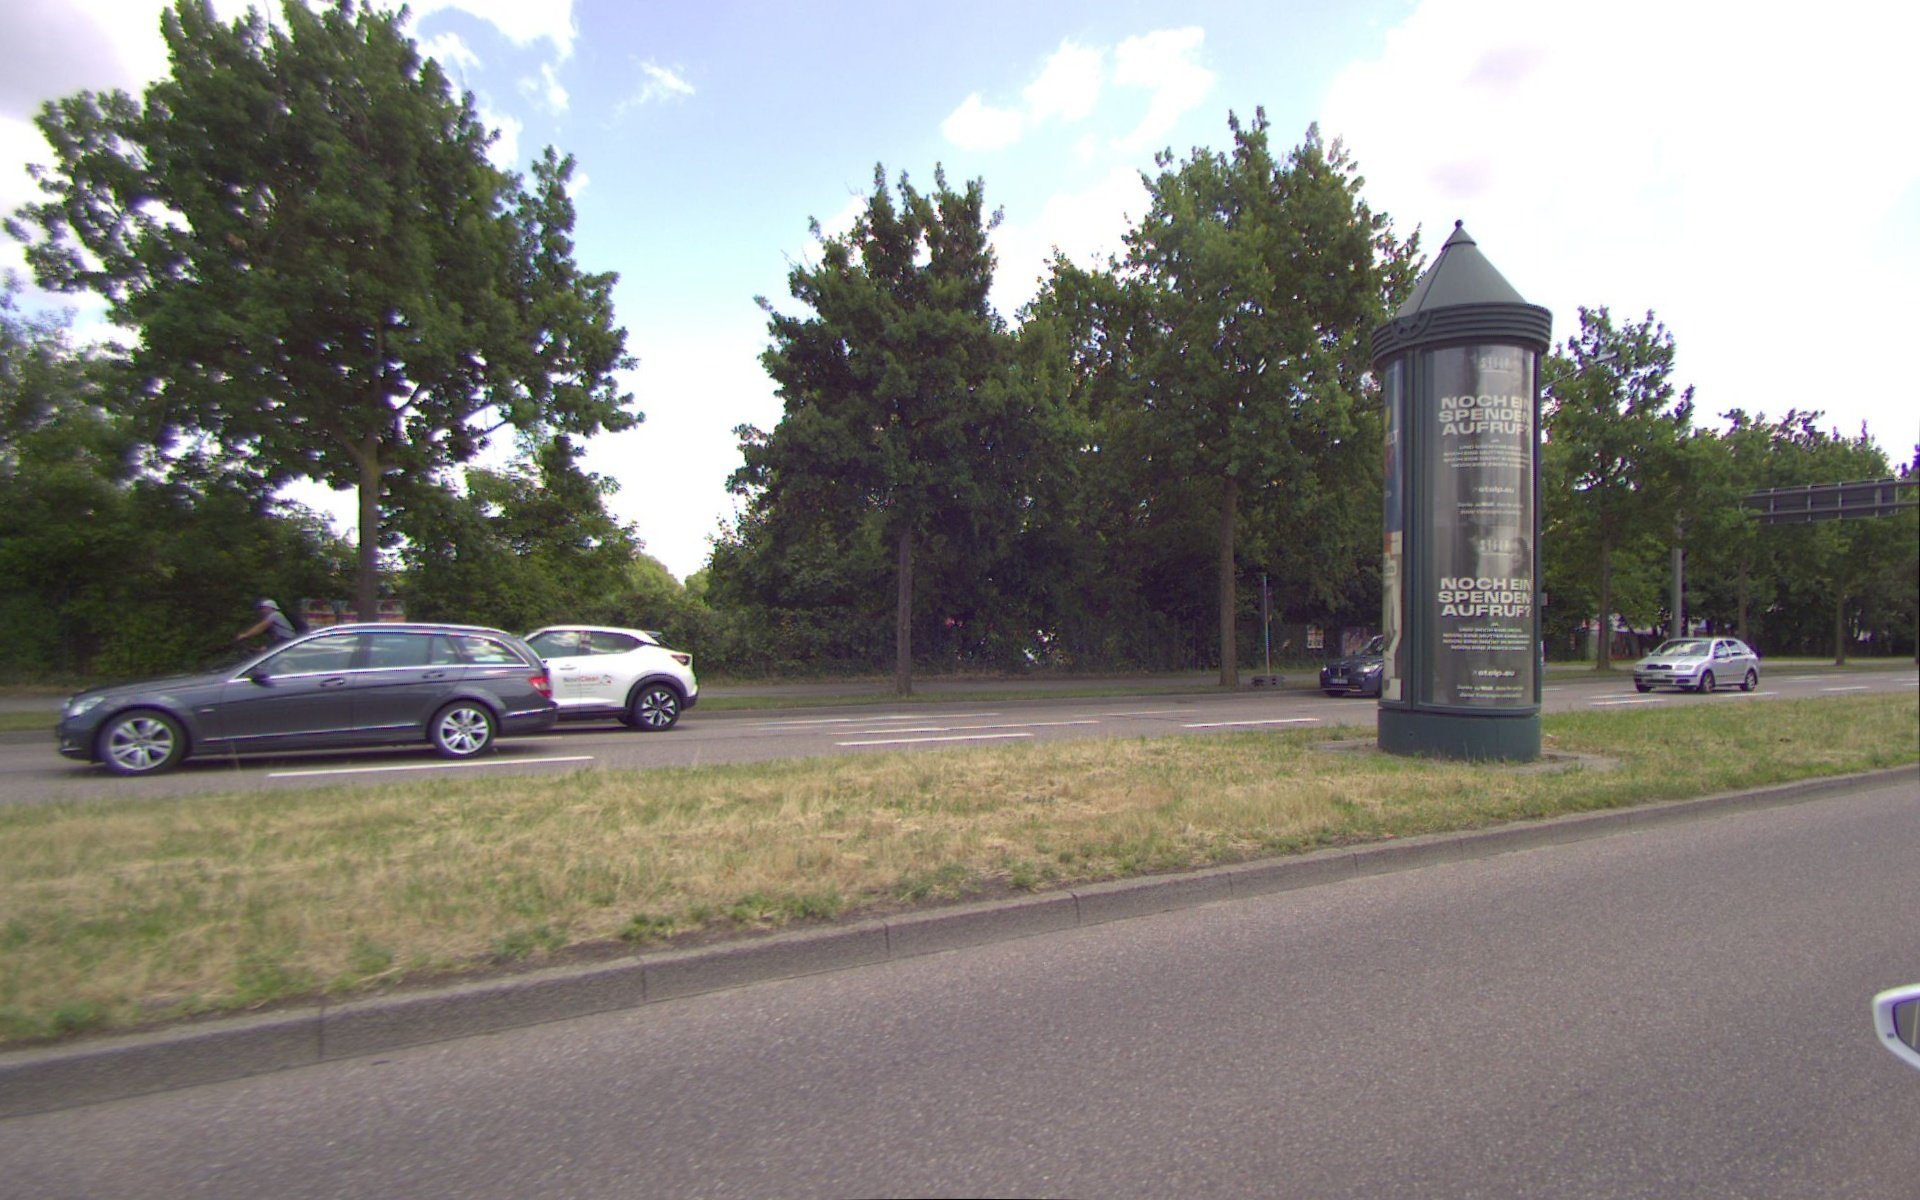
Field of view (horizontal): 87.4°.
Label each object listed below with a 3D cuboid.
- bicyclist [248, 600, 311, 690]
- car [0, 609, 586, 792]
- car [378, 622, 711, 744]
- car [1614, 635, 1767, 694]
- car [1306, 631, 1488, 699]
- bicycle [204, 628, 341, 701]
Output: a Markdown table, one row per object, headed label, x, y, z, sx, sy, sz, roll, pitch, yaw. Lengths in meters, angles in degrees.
| label | x | y | z | sx | sy | sz | roll | pitch | yaw |
| --- | --- | --- | --- | --- | --- | --- | --- | --- | --- |
| bicyclist | -12.463 | 0.815 | 18.420 | 0.873 | 1.586 | 0.826 | 2 | 0 | -31 |
| car | -6.807 | 0.969 | 10.872 | 4.955 | 1.612 | 1.714 | 1 | -2 | -31 |
| car | -6.075 | 1.138 | 14.819 | 4.318 | 1.561 | 1.901 | 1 | -2 | -31 |
| car | 19.442 | 1.663 | 26.705 | 4.259 | 1.459 | 1.755 | 1 | -2 | -31 |
| car | 11.209 | 1.605 | 25.658 | 4.974 | 1.598 | 1.754 | 2 | -2 | -31 |
| bicycle | -12.534 | 1.168 | 18.394 | 1.993 | 1.235 | 0.757 | 2 | 0 | -31 |
